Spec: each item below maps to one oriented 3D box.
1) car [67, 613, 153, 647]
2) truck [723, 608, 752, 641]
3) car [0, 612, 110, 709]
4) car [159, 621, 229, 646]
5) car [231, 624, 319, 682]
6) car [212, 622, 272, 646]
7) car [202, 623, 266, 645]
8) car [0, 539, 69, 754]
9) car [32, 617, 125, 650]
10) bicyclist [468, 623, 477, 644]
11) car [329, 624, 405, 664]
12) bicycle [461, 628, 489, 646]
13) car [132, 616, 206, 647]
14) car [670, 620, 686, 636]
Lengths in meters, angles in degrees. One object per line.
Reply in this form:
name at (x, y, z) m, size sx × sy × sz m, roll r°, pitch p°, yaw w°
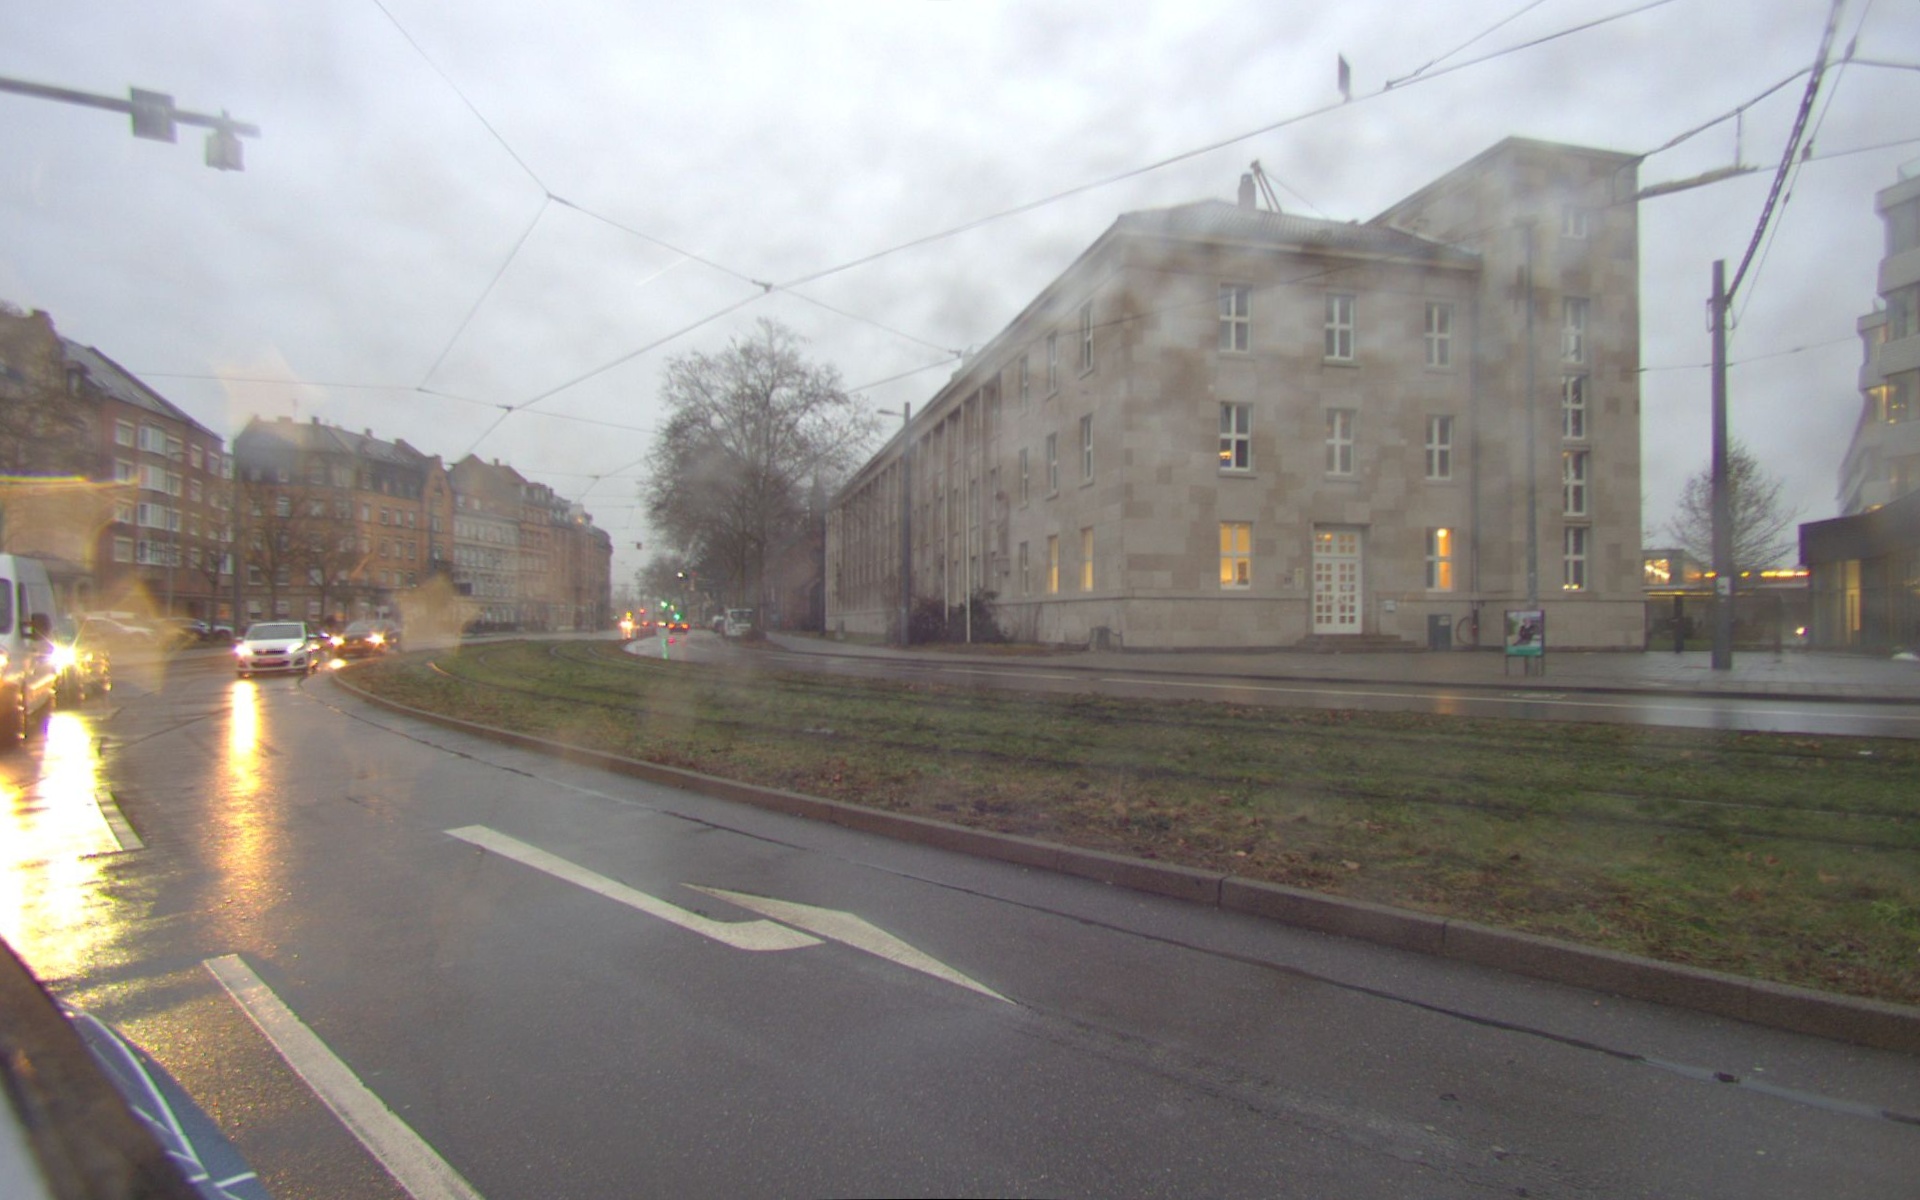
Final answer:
car at (-41.541, 1.451, 49.552) m, size 3.135 × 1.636 × 1.431 m, roll 1°, pitch -2°, yaw -37°
truck at (-14.382, 1.589, 65.433) m, size 1.808 × 2.060 × 4.010 m, roll 0°, pitch -2°, yaw -13°
car at (-17.962, 1.108, 19.673) m, size 1.846 × 1.701 × 4.181 m, roll 0°, pitch -1°, yaw -35°
car at (-43.730, 1.906, 57.864) m, size 3.134 × 1.424 × 1.385 m, roll 1°, pitch -2°, yaw -35°
car at (-18.718, 1.403, 27.778) m, size 1.661 × 1.441 × 3.357 m, roll 0°, pitch -1°, yaw -28°
car at (-46.652, 2.187, 65.799) m, size 3.134 × 1.494 × 1.385 m, roll 1°, pitch -2°, yaw -35°
car at (-44.335, 2.087, 61.829) m, size 3.134 × 1.293 × 1.385 m, roll 1°, pitch -2°, yaw -35°
car at (-13.494, 0.581, 13.400) m, size 2.207 × 2.481 × 5.681 m, roll 0°, pitch -1°, yaw -38°
car at (-40.680, 1.536, 46.796) m, size 3.135 × 1.440 × 1.431 m, roll 1°, pitch -2°, yaw -37°
bicyclist at (-47.849, 3.320, 99.342) m, size 0.766 × 2.029 × 0.833 m, roll -1°, pitch 0°, yaw -20°
car at (-24.331, 1.786, 41.666) m, size 1.809 × 1.545 × 3.827 m, roll 0°, pitch -2°, yaw -17°
bicycle at (-47.644, 3.612, 99.416) m, size 2.410 × 1.719 × 0.848 m, roll -1°, pitch 0°, yaw -19°
car at (-42.968, 1.682, 55.029) m, size 3.135 × 1.636 × 1.449 m, roll 1°, pitch -2°, yaw -37°
car at (-29.644, 2.976, 106.348) m, size 1.662 × 1.652 × 3.657 m, roll 0°, pitch -2°, yaw -16°
